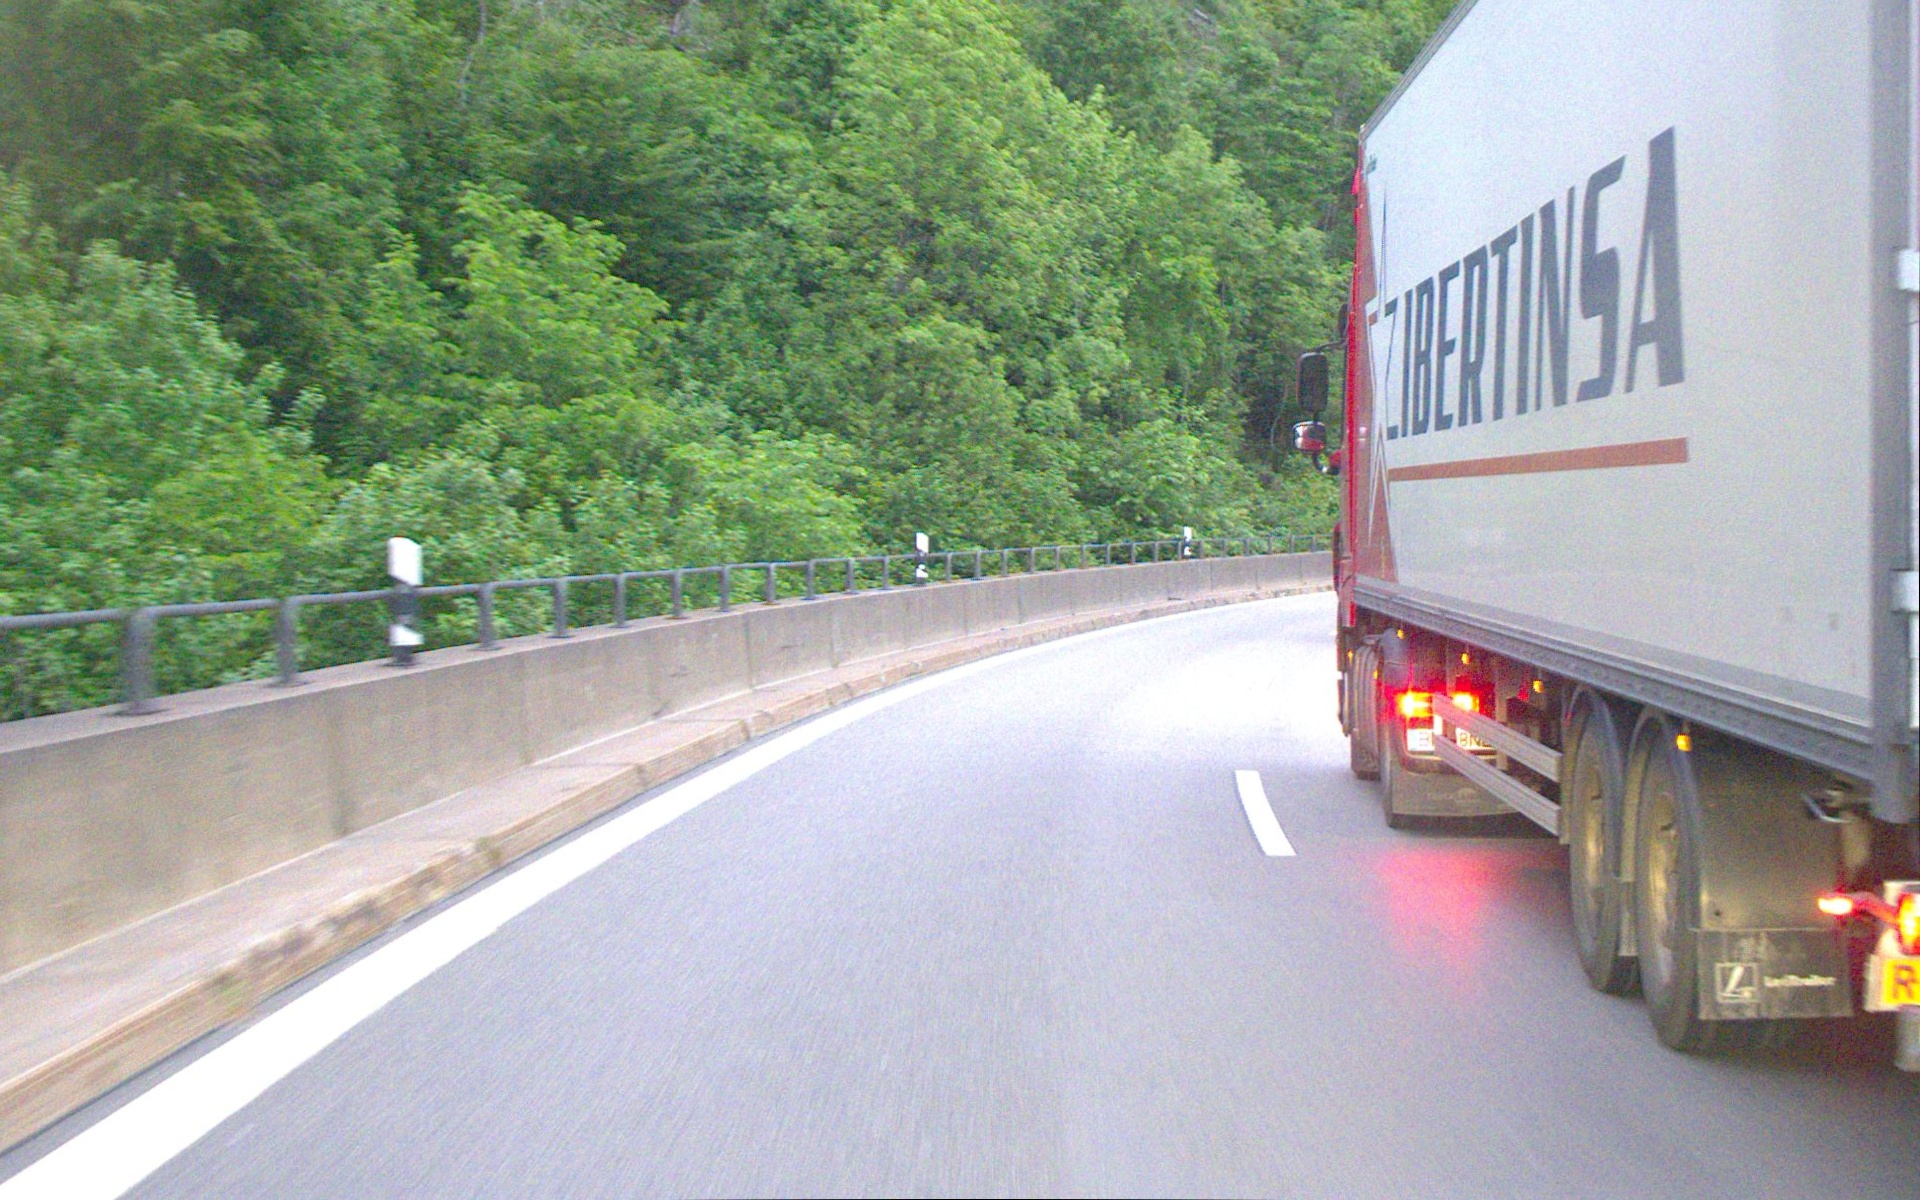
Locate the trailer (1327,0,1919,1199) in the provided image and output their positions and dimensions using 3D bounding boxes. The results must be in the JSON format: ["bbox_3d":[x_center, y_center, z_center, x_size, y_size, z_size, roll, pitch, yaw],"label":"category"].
[{"bbox_3d":[3.626,-0.735,14.048,3.097,3.956,14.218,-1,1,2],"label":"trailer"}]

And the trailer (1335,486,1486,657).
[{"bbox_3d":[6.816,-0.507,51.565,2.055,2.366,5.936,1,2,9],"label":"trailer"}]

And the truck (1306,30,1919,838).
[{"bbox_3d":[3.871,-0.878,20.833,3.069,4.130,6.446,0,0,2],"label":"truck"}]
